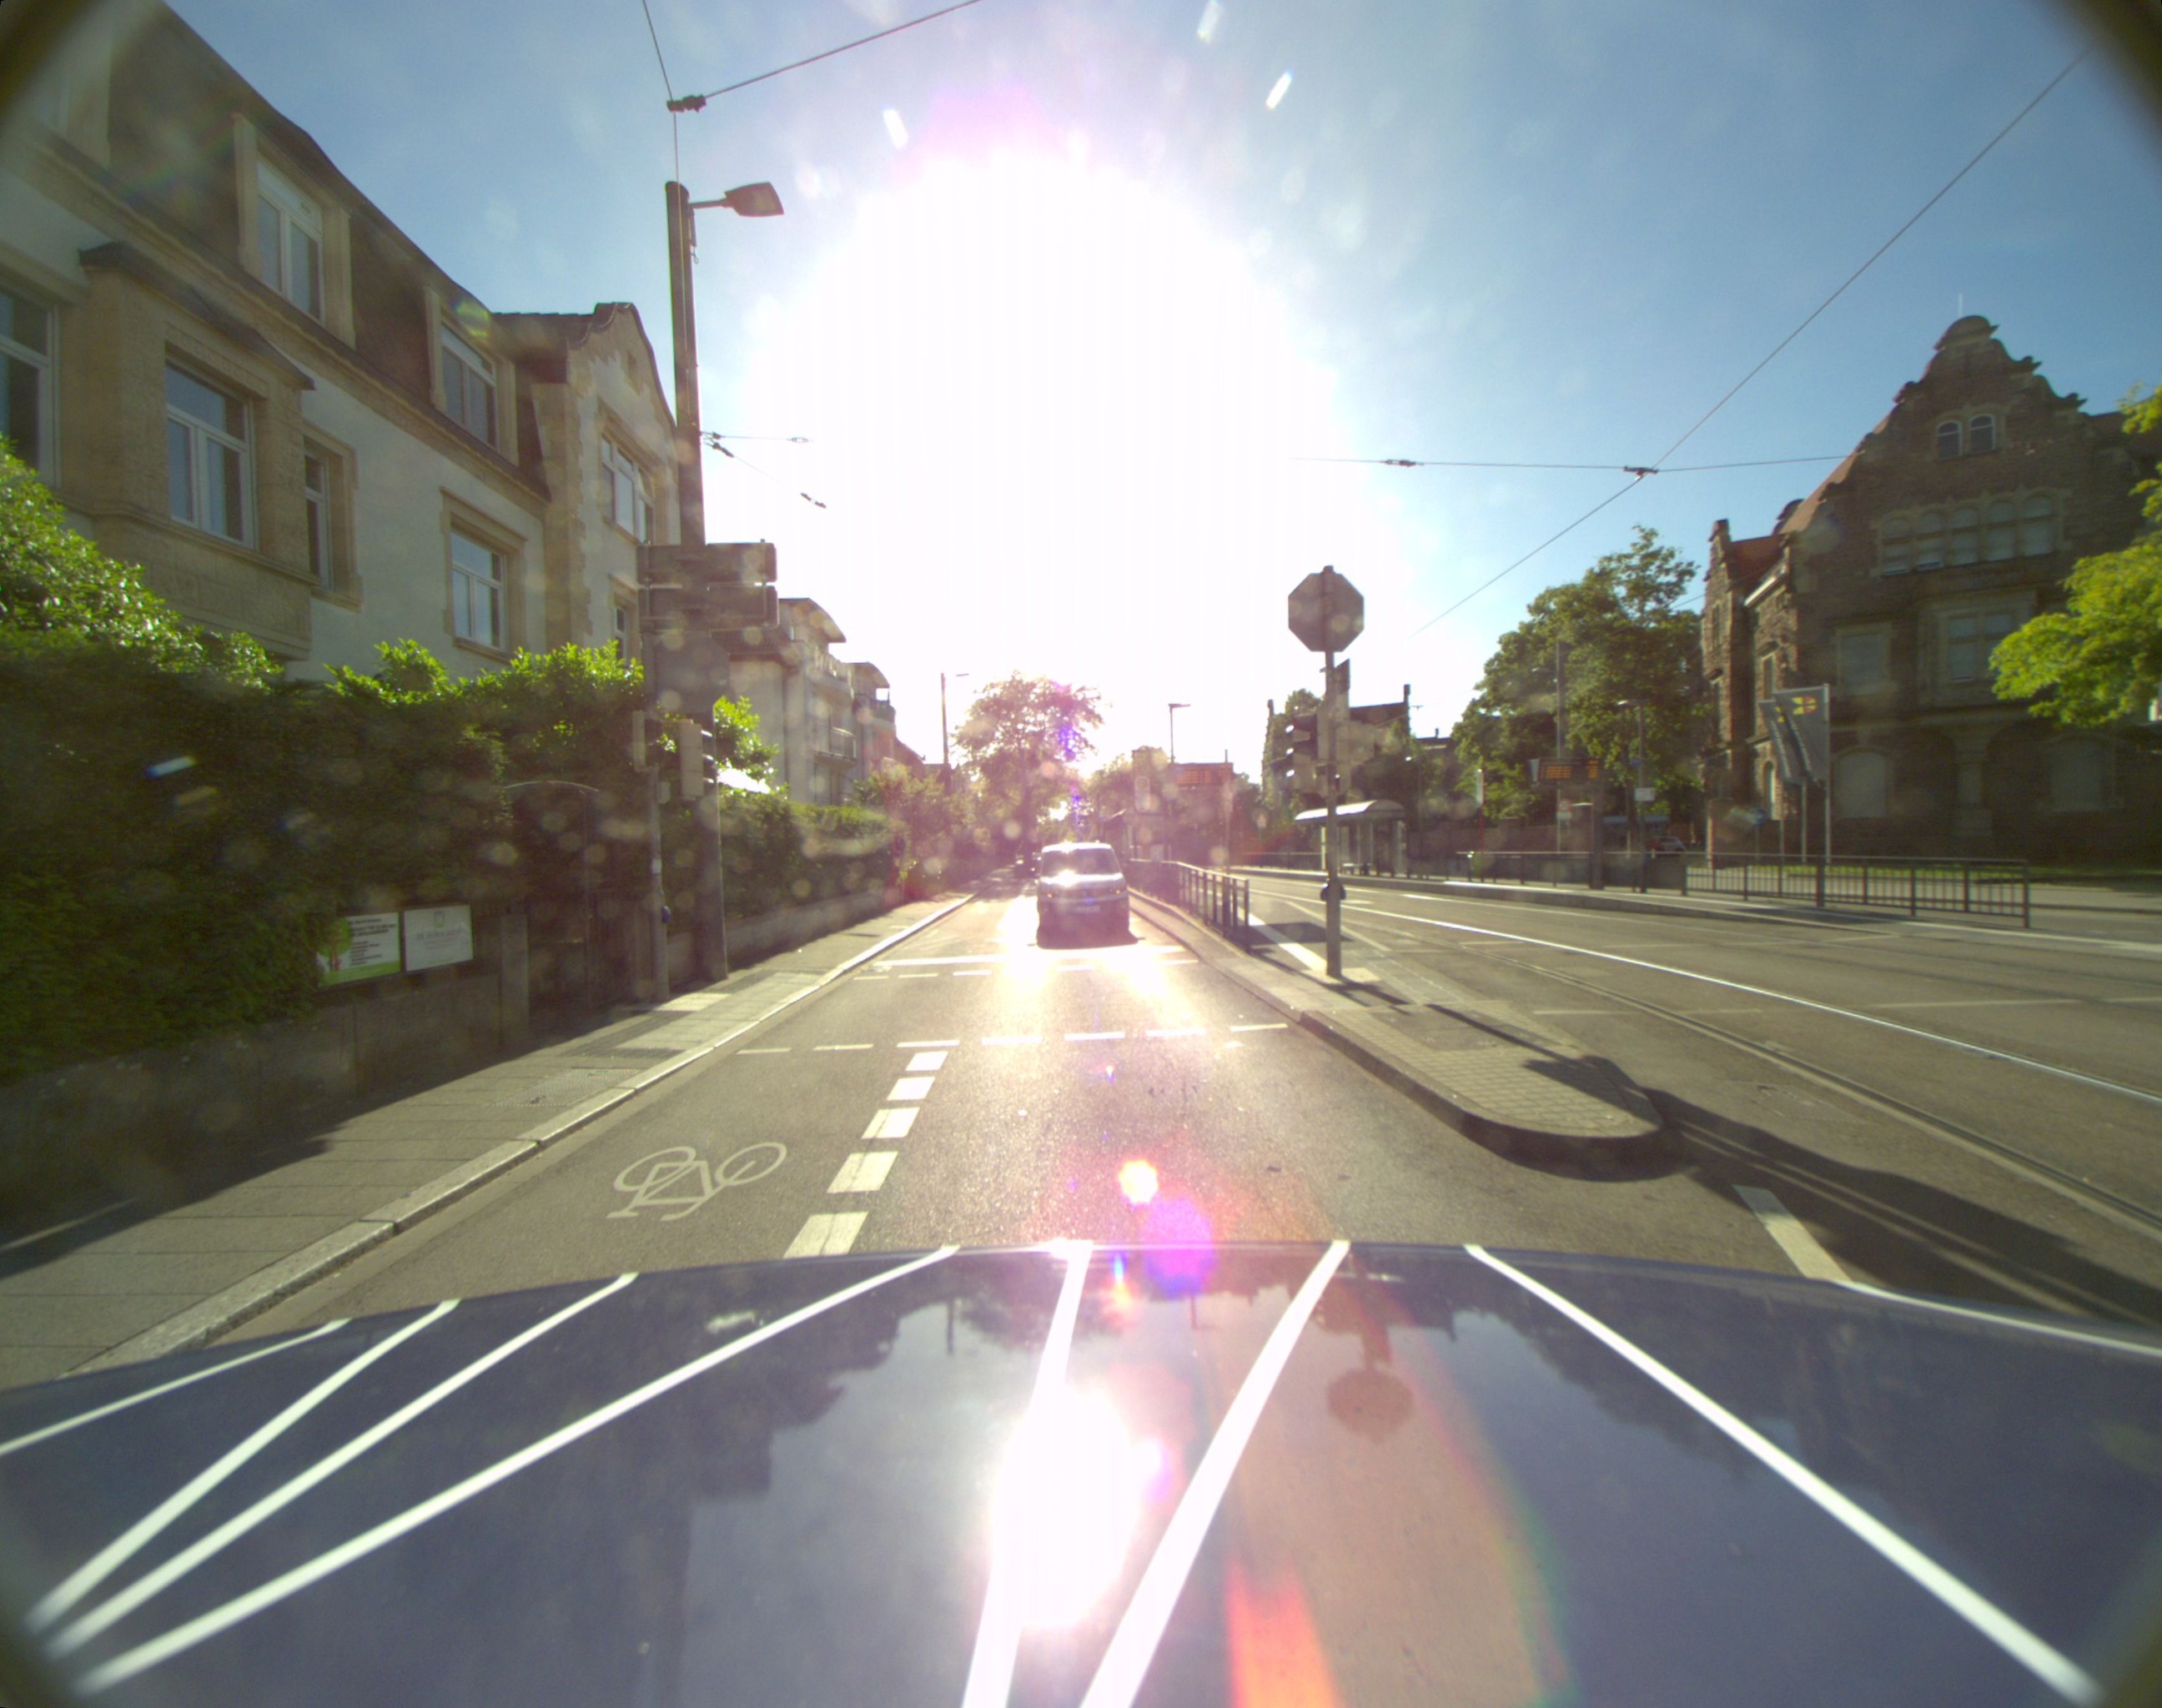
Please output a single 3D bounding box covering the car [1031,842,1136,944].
[{"bbox_3d":[-0.082,0.681,16.385,1.857,1.788,4.695,-3,1,-3],"label":"car"}]
